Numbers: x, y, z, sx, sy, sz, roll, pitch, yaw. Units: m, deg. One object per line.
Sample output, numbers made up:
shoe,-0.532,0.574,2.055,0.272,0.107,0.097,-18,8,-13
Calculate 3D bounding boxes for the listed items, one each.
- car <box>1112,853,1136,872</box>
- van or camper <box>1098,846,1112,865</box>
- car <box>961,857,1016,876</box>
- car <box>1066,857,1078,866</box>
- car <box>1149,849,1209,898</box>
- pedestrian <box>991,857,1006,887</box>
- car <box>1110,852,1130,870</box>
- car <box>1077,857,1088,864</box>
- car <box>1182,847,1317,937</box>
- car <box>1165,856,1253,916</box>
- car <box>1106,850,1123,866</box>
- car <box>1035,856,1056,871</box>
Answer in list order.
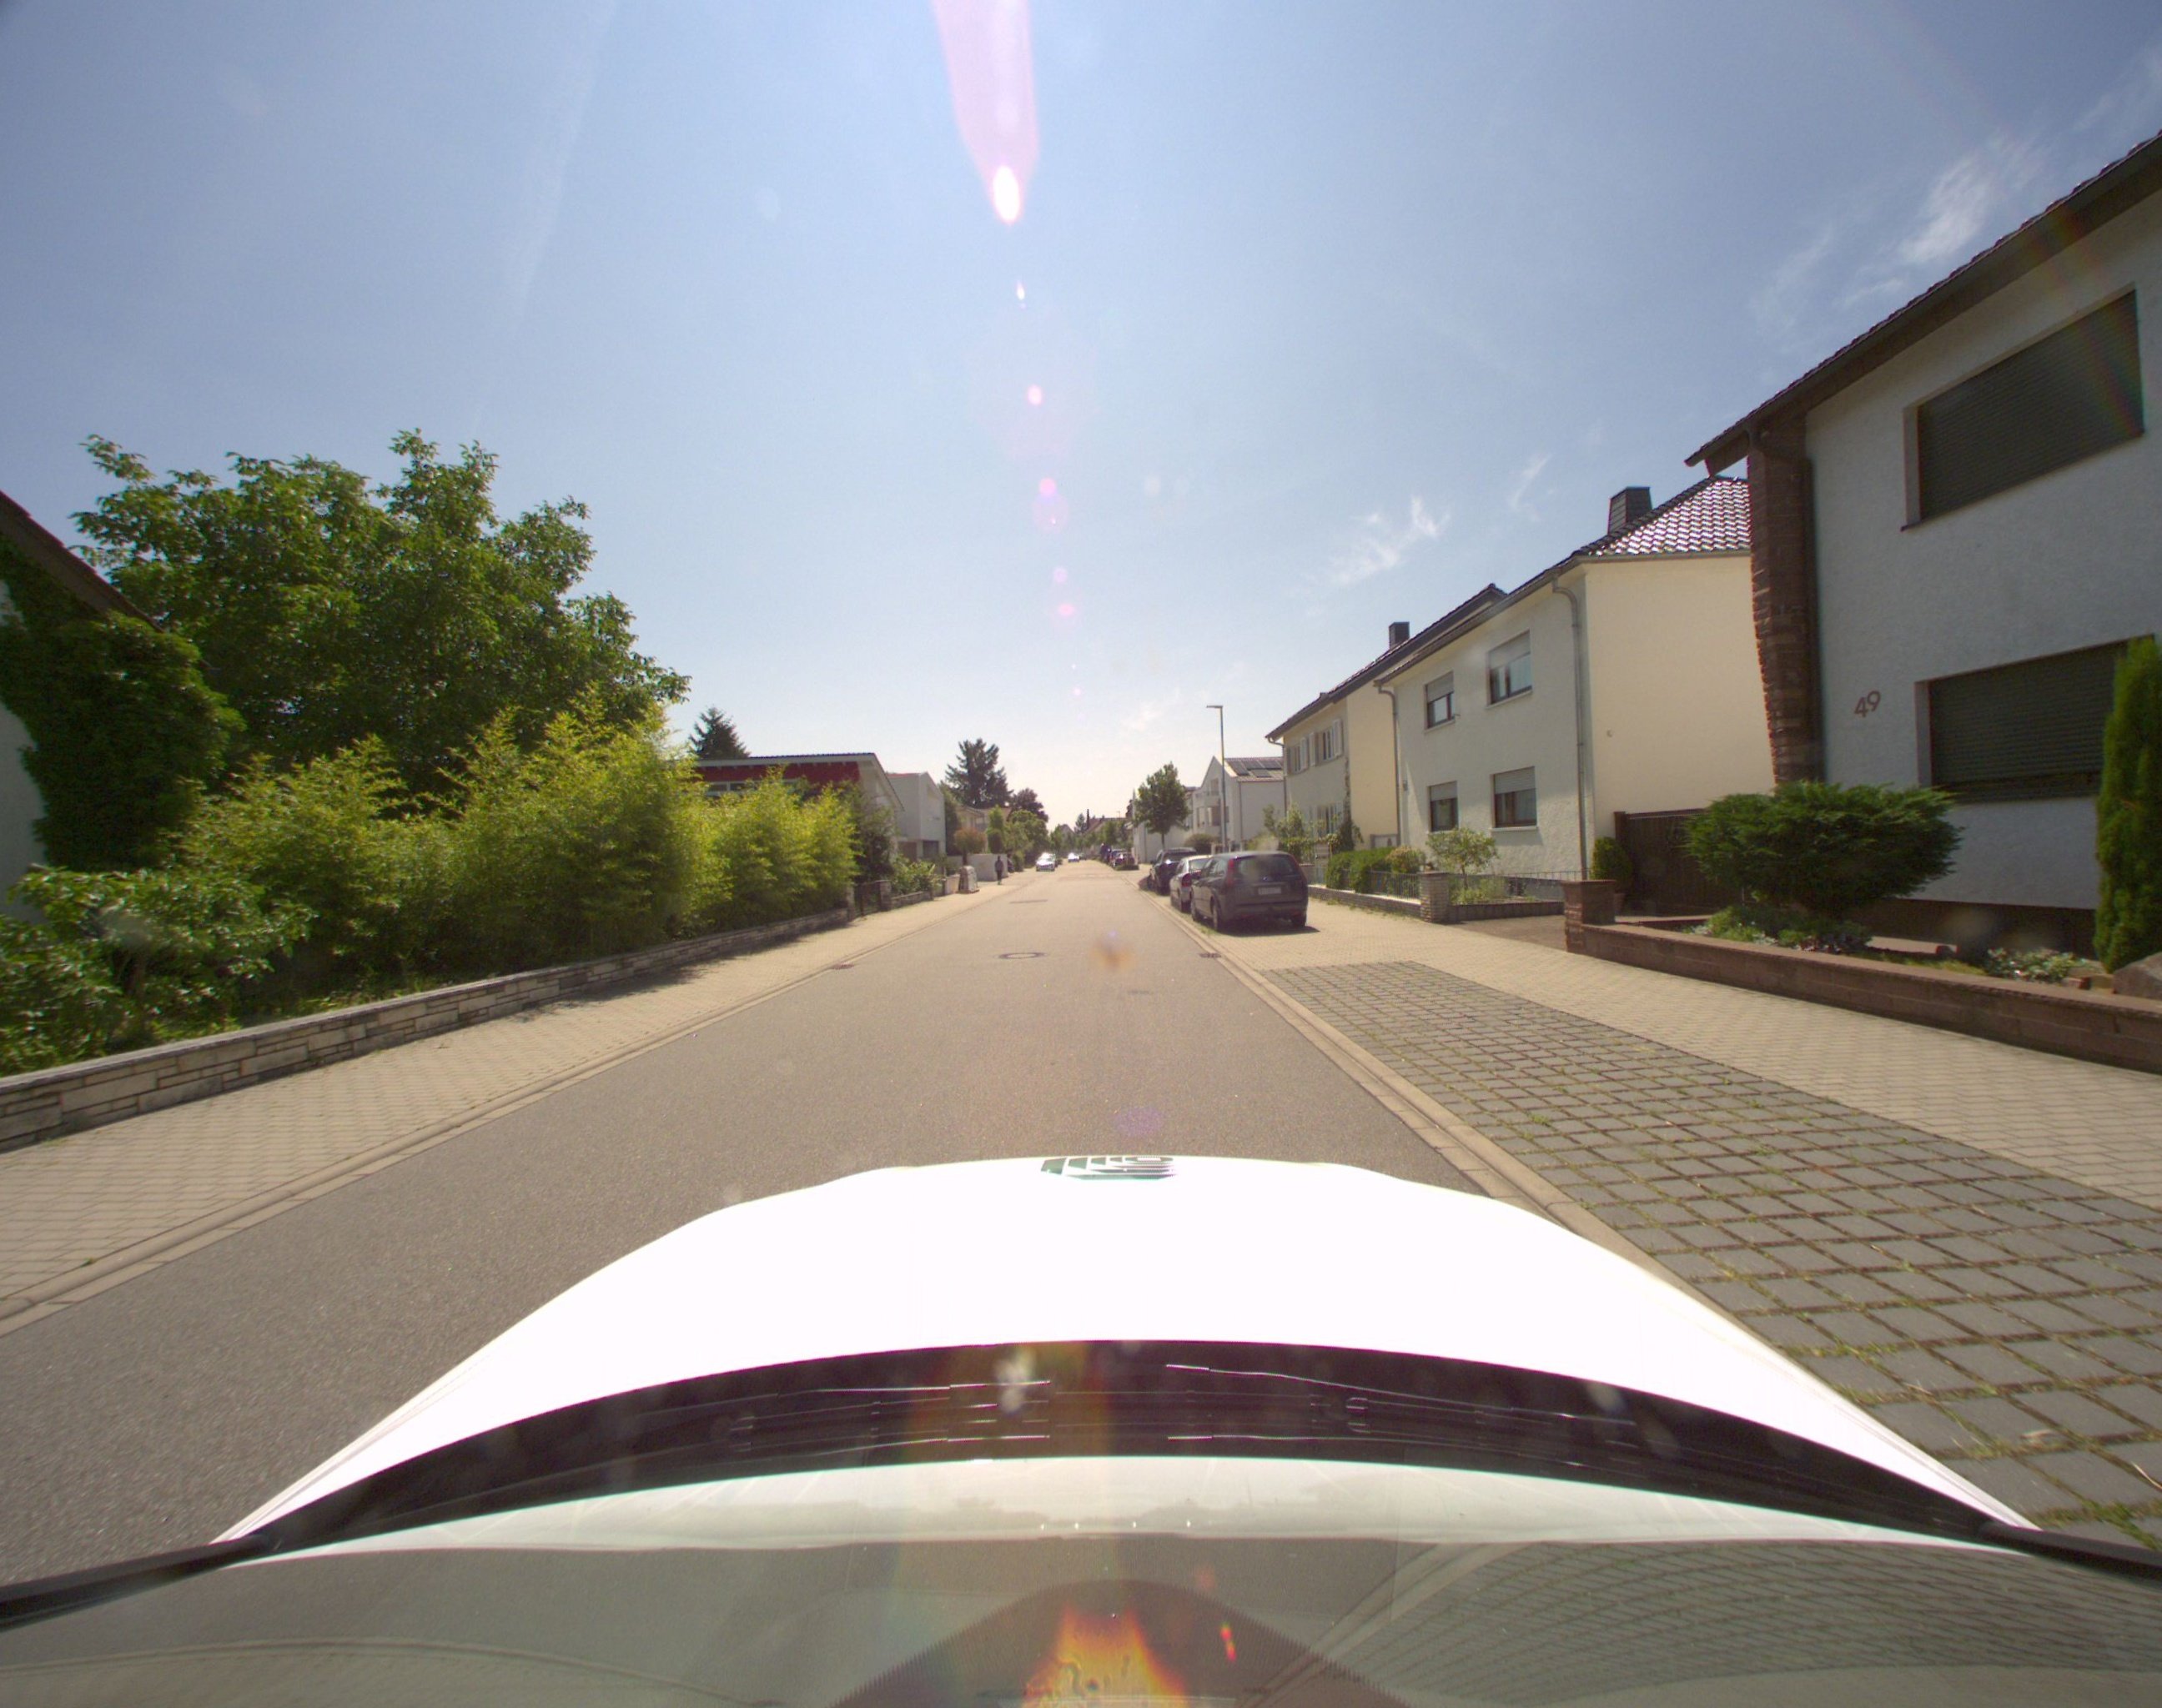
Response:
car,3.929,0.769,75.040,1.768,1.595,4.276,-2,0,-2
van or camper,3.892,0.239,131.047,1.987,2.941,4.000,-2,0,0
car,-7.839,1.077,69.226,4.409,1.473,1.853,1,0,4
car,-1.483,1.254,139.687,1.846,1.478,4.702,-2,0,2
car,3.694,0.676,31.416,1.808,1.656,4.565,-2,0,1
pedestrian,-4.929,1.063,48.799,0.712,1.747,0.961,-2,0,0
car,4.360,0.735,91.777,2.092,1.882,4.844,-2,0,1
car,0.366,1.343,168.571,1.986,1.430,4.002,-2,0,2
car,3.292,0.686,16.810,1.737,1.533,4.446,-2,0,-1
car,3.401,0.807,22.353,1.808,1.420,4.094,-2,0,1
car,4.337,0.550,105.966,1.987,1.947,5.215,-3,0,1
car,-3.635,0.948,83.482,1.845,1.488,4.385,-2,0,1
